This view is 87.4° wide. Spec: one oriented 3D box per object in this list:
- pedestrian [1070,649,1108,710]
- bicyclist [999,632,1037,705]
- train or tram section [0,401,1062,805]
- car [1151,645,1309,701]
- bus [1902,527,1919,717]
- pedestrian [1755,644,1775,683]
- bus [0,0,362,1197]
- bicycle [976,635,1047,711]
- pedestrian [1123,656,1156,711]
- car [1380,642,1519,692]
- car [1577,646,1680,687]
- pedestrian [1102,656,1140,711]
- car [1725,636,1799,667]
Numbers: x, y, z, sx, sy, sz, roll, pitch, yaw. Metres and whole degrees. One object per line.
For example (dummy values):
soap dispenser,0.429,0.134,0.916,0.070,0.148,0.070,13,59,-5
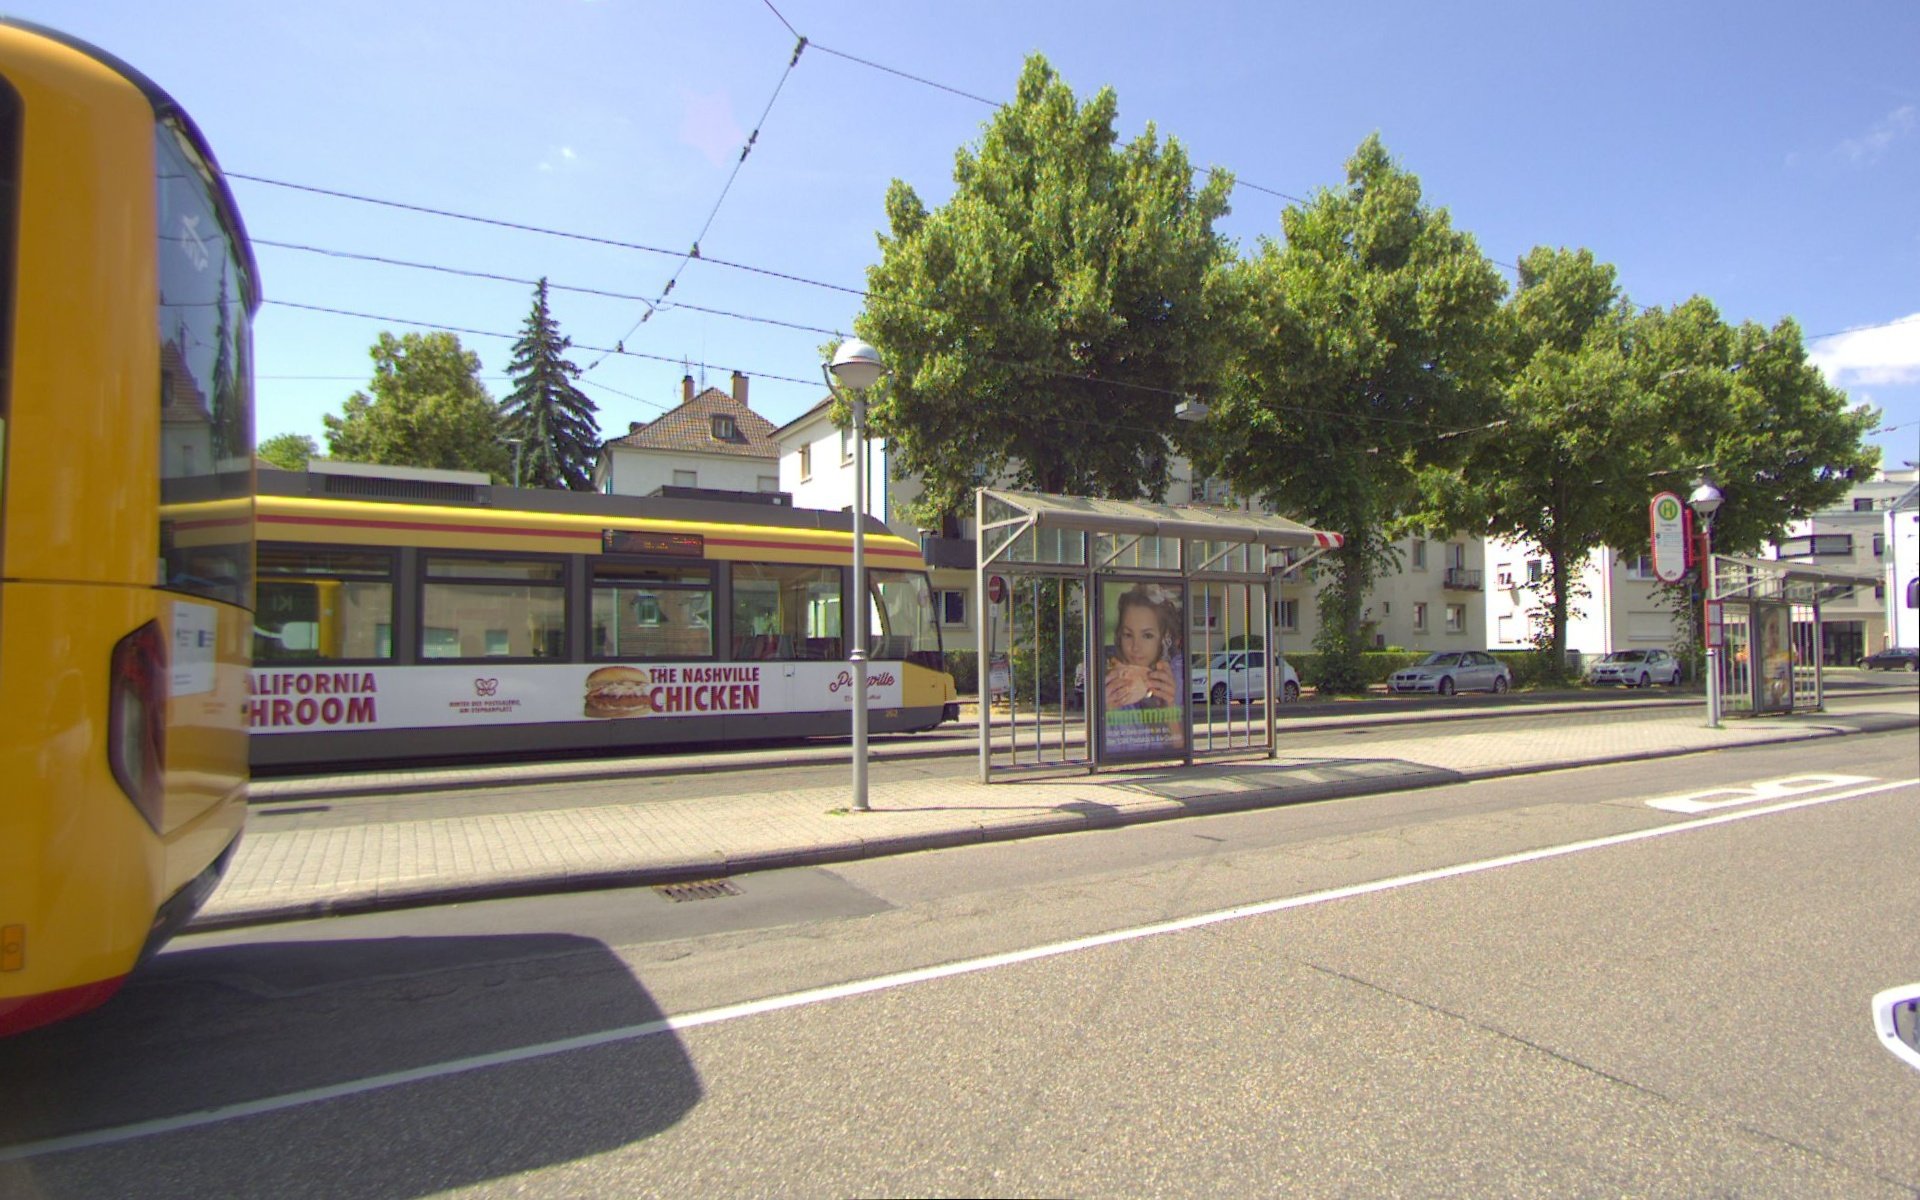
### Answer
pedestrian,2.743,1.685,21.373,0.533,1.267,0.612,3,-2,-27
bicyclist,1.444,1.709,25.174,0.665,1.766,0.632,3,-2,-30
train or tram section,-5.141,0.198,13.097,13.832,3.691,2.949,2,-1,-31
car,6.901,1.859,25.562,3.954,1.290,1.560,3,-2,-31
bus,22.396,0.555,19.510,11.980,3.291,2.893,2,-1,-31
pedestrian,43.256,3.417,53.996,0.672,2.040,0.618,1,-2,25
bus,-7.800,-0.360,1.121,12.055,3.290,2.884,3,-2,-30
bicycle,1.287,1.821,25.071,1.651,1.837,0.629,3,-2,-31
pedestrian,3.940,1.832,22.065,0.451,1.153,0.508,3,-2,-27
car,14.793,2.030,30.292,4.351,1.375,1.685,3,-2,-31
car,23.938,2.369,35.919,3.959,1.336,1.704,3,-2,-34
pedestrian,3.494,1.802,21.810,0.533,1.153,0.612,3,-2,-27
car,56.405,3.589,70.761,1.961,2.040,4.000,2,-2,-1
